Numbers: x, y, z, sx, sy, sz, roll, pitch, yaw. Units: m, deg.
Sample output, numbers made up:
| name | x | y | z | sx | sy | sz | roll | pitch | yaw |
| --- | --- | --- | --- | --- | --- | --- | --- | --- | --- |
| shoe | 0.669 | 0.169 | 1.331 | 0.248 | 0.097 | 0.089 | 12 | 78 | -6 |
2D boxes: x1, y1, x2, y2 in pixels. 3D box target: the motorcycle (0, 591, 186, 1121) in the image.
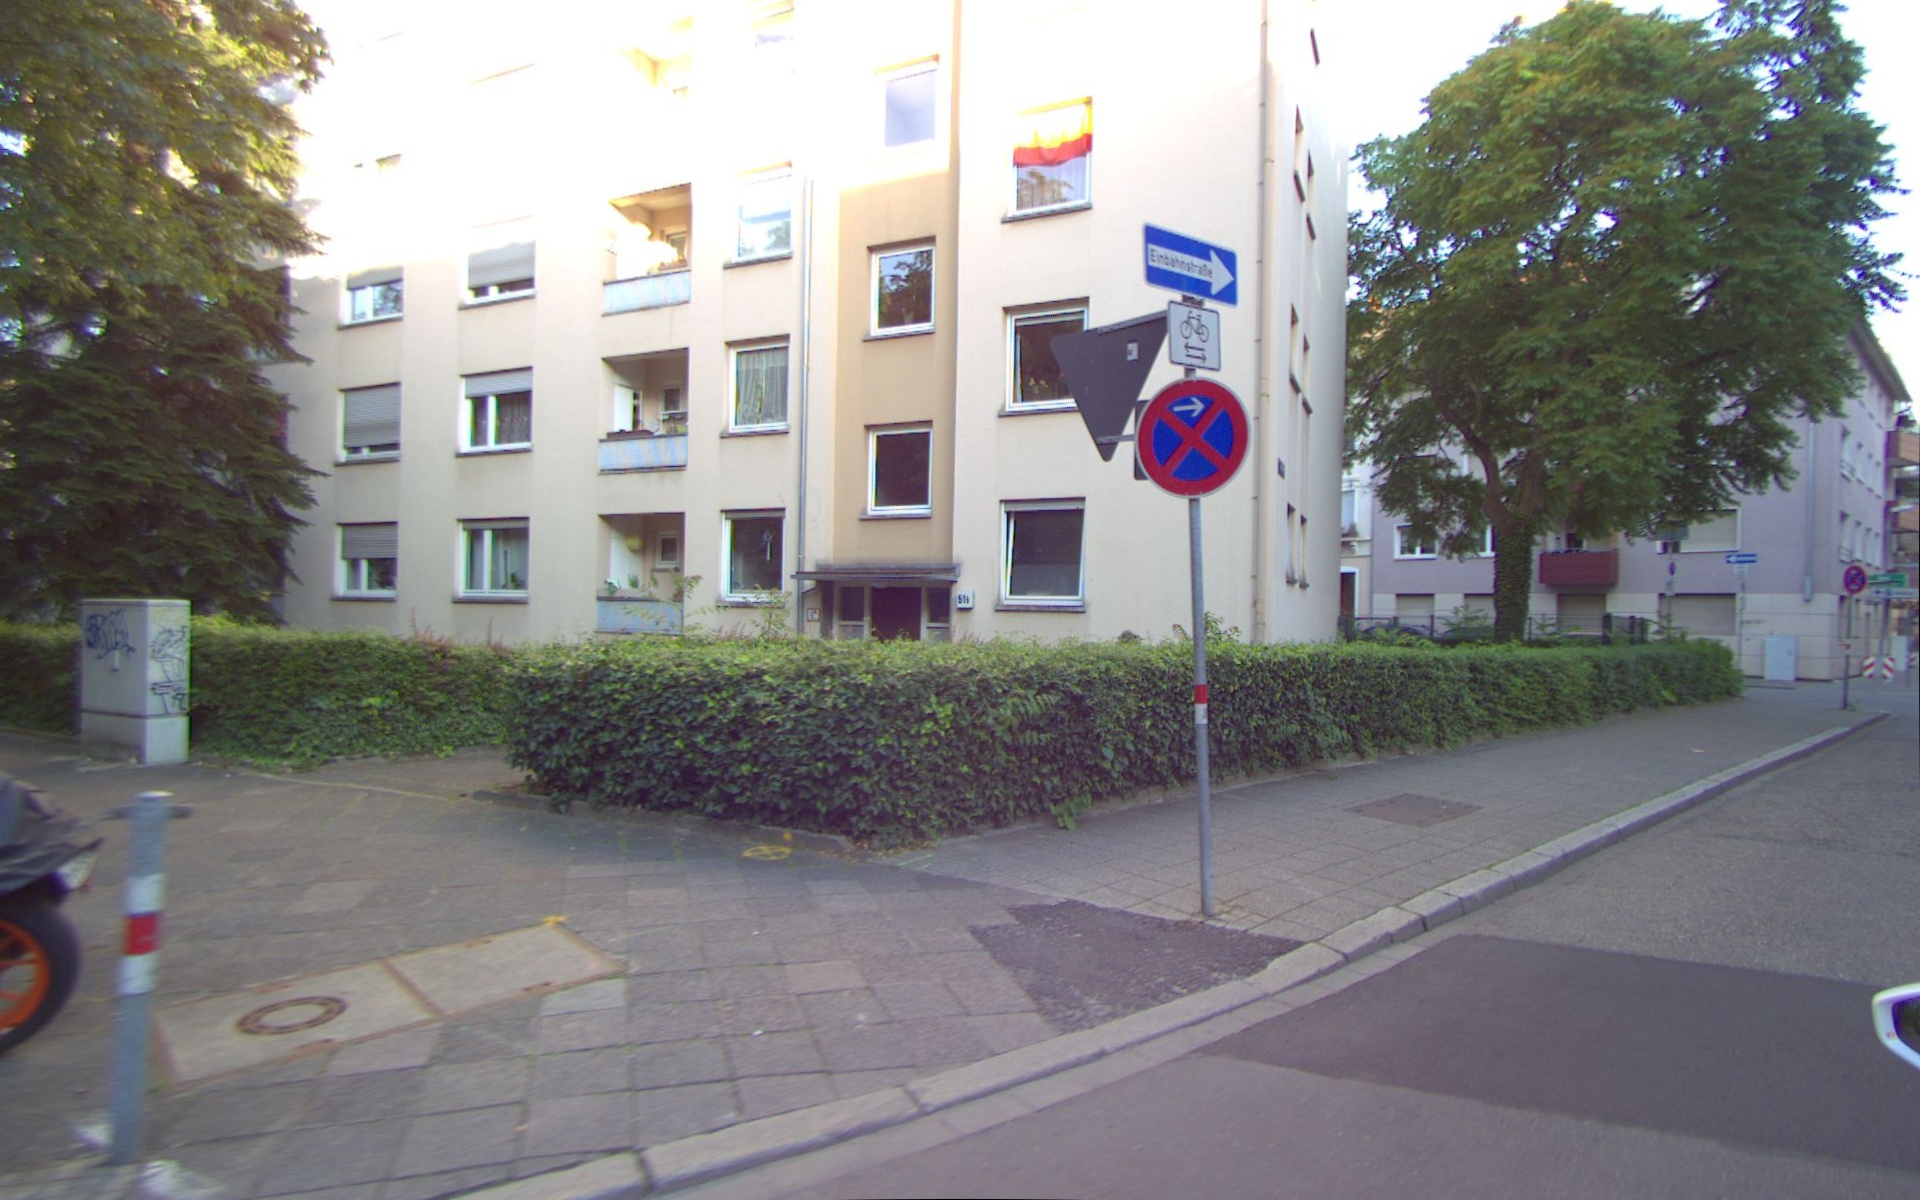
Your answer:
| name | x | y | z | sx | sy | sz | roll | pitch | yaw |
| --- | --- | --- | --- | --- | --- | --- | --- | --- | --- |
| motorcycle | -3.490 | 0.673 | 2.626 | 2.231 | 1.439 | 0.844 | 2 | -1 | -34 |

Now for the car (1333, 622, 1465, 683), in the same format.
| name | x | y | z | sx | sy | sz | roll | pitch | yaw |
| --- | --- | --- | --- | --- | --- | --- | --- | --- | --- |
| car | 14.147 | 1.634 | 32.474 | 1.873 | 1.780 | 3.486 | 0 | 0 | -45 |
